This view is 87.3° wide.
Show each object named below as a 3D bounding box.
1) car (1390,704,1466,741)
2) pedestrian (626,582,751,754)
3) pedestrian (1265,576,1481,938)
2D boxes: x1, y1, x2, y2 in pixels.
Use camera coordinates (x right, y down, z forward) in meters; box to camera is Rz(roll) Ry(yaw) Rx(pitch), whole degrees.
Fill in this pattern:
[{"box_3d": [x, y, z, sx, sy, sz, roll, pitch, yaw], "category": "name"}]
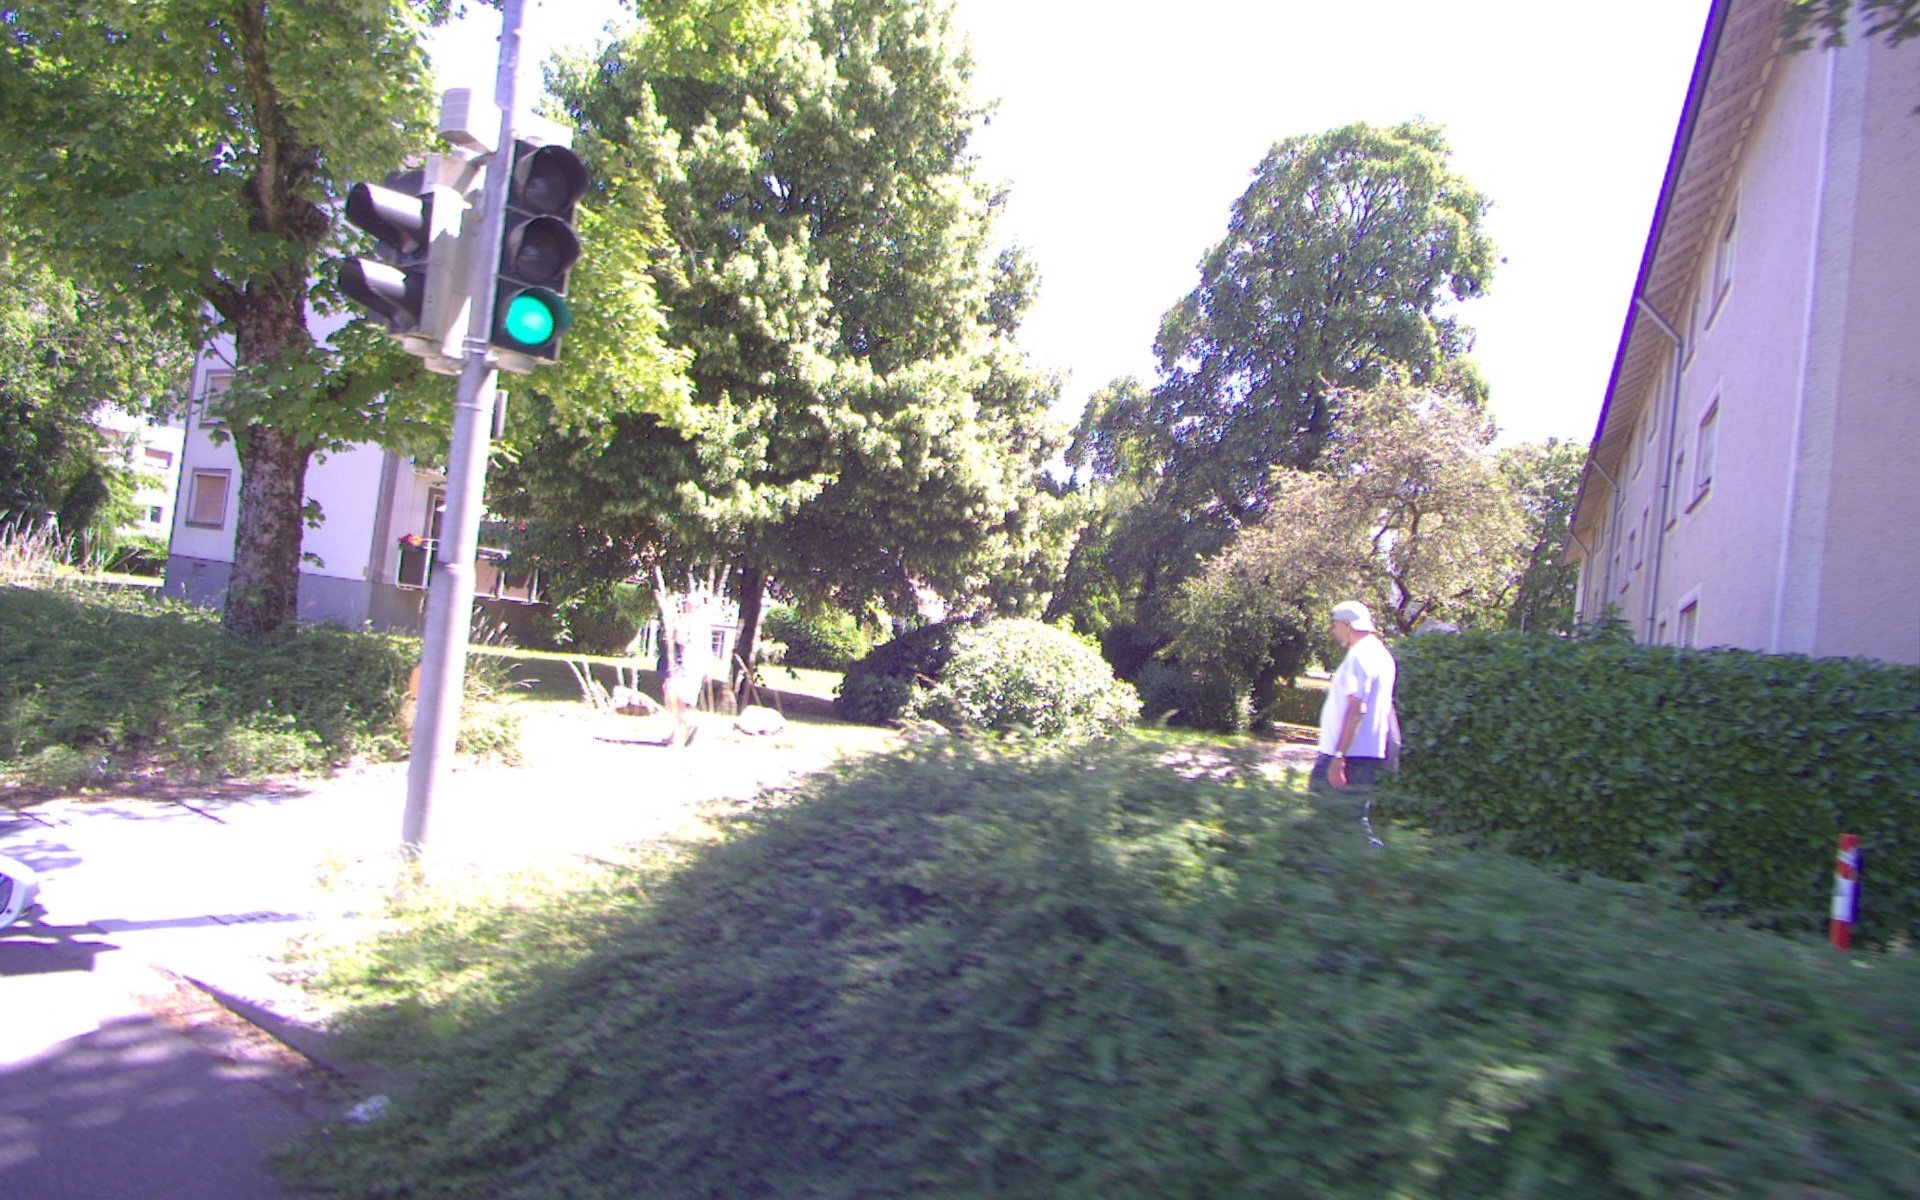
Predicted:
[{"box_3d": [29.289, 7.642, 62.958, 4.076, 1.645, 1.686, 6, -2, 31], "category": "car"}, {"box_3d": [-2.840, 0.704, 10.567, 0.836, 1.653, 0.720, 6, -1, 24], "category": "pedestrian"}, {"box_3d": [2.391, 0.879, 5.923, 0.885, 1.894, 0.675, 6, -2, 12], "category": "pedestrian"}]
